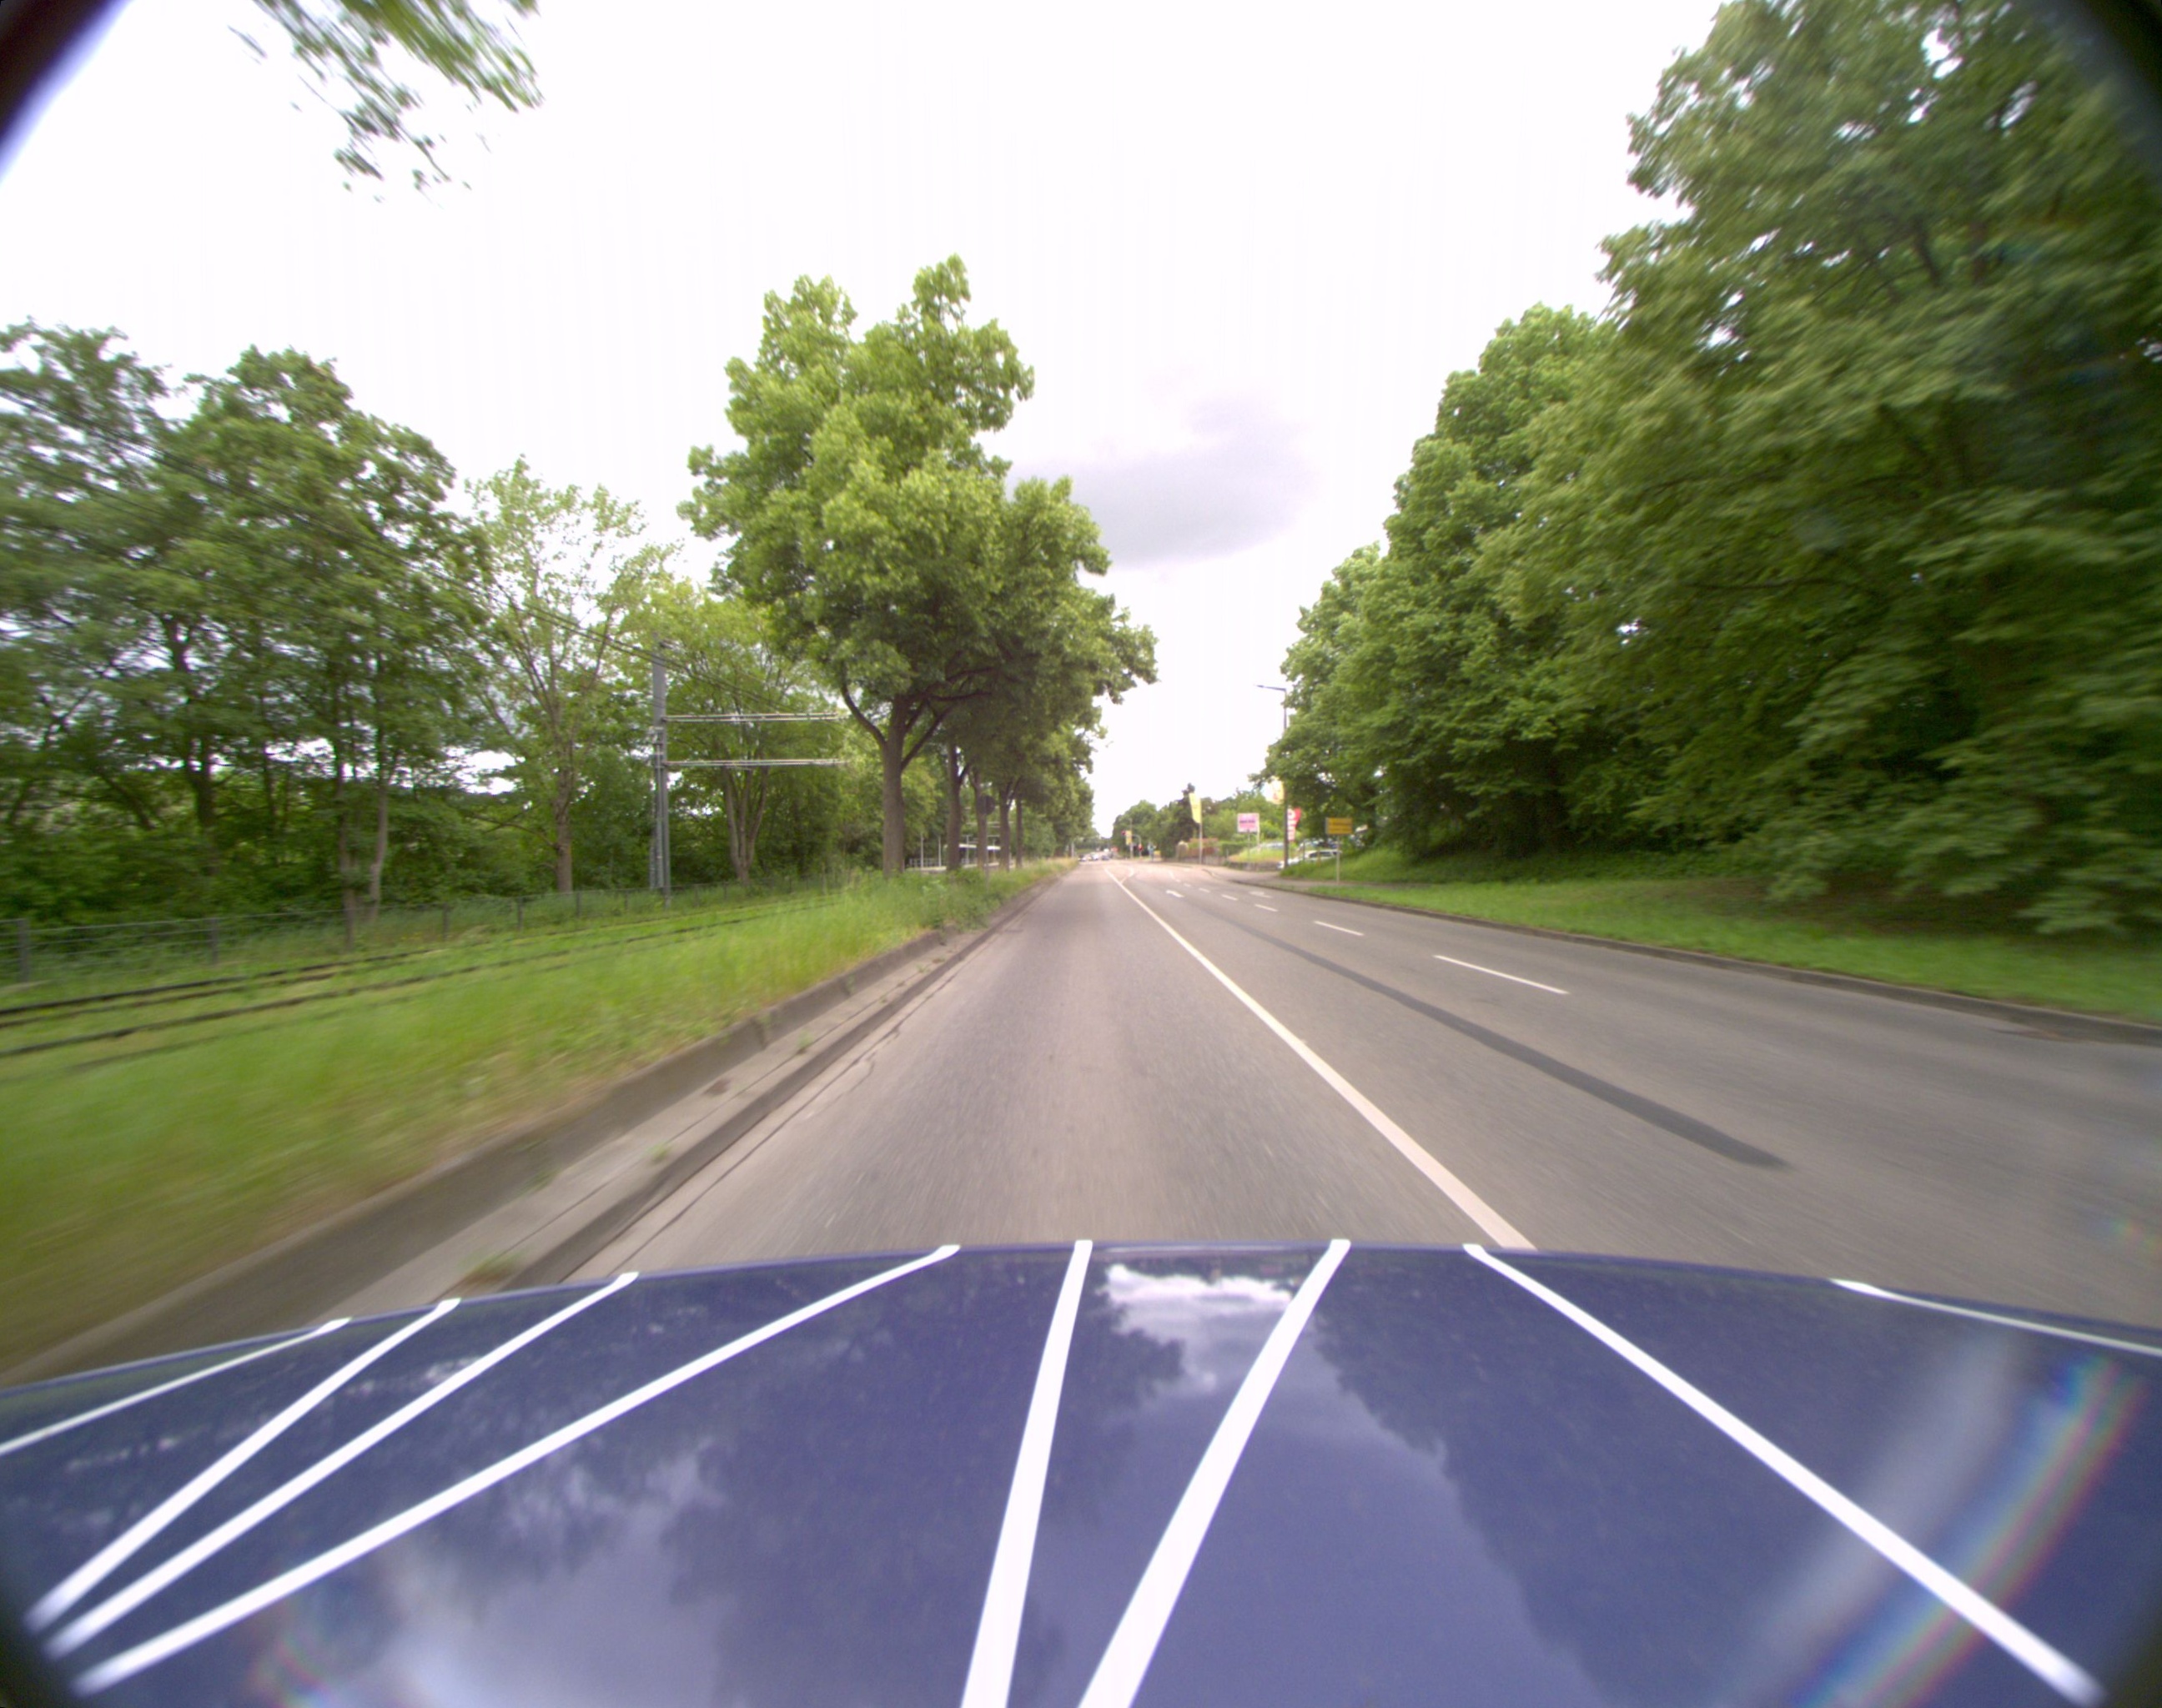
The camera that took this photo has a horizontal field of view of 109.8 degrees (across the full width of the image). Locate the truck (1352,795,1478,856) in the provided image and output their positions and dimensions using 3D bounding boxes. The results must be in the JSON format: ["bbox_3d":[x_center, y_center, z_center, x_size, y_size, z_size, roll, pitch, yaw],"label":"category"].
[{"bbox_3d":[21.748,-1.817,49.722,6.923,3.609,2.658,-2,1,1],"label":"truck"}]

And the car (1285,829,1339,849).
[{"bbox_3d":[19.346,-1.242,63.688,3.997,1.499,1.734,-2,1,1],"label":"car"}]

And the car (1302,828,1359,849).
[{"bbox_3d":[20.169,-1.251,61.407,3.997,1.499,1.734,-2,1,1],"label":"car"}]

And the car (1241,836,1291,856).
[{"bbox_3d":[16.199,-0.719,66.639,3.905,1.608,1.879,-2,1,1],"label":"car"}]

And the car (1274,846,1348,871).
[{"bbox_3d":[14.970,0.298,49.614,4.220,1.483,1.749,-2,-1,-3],"label":"car"}]
